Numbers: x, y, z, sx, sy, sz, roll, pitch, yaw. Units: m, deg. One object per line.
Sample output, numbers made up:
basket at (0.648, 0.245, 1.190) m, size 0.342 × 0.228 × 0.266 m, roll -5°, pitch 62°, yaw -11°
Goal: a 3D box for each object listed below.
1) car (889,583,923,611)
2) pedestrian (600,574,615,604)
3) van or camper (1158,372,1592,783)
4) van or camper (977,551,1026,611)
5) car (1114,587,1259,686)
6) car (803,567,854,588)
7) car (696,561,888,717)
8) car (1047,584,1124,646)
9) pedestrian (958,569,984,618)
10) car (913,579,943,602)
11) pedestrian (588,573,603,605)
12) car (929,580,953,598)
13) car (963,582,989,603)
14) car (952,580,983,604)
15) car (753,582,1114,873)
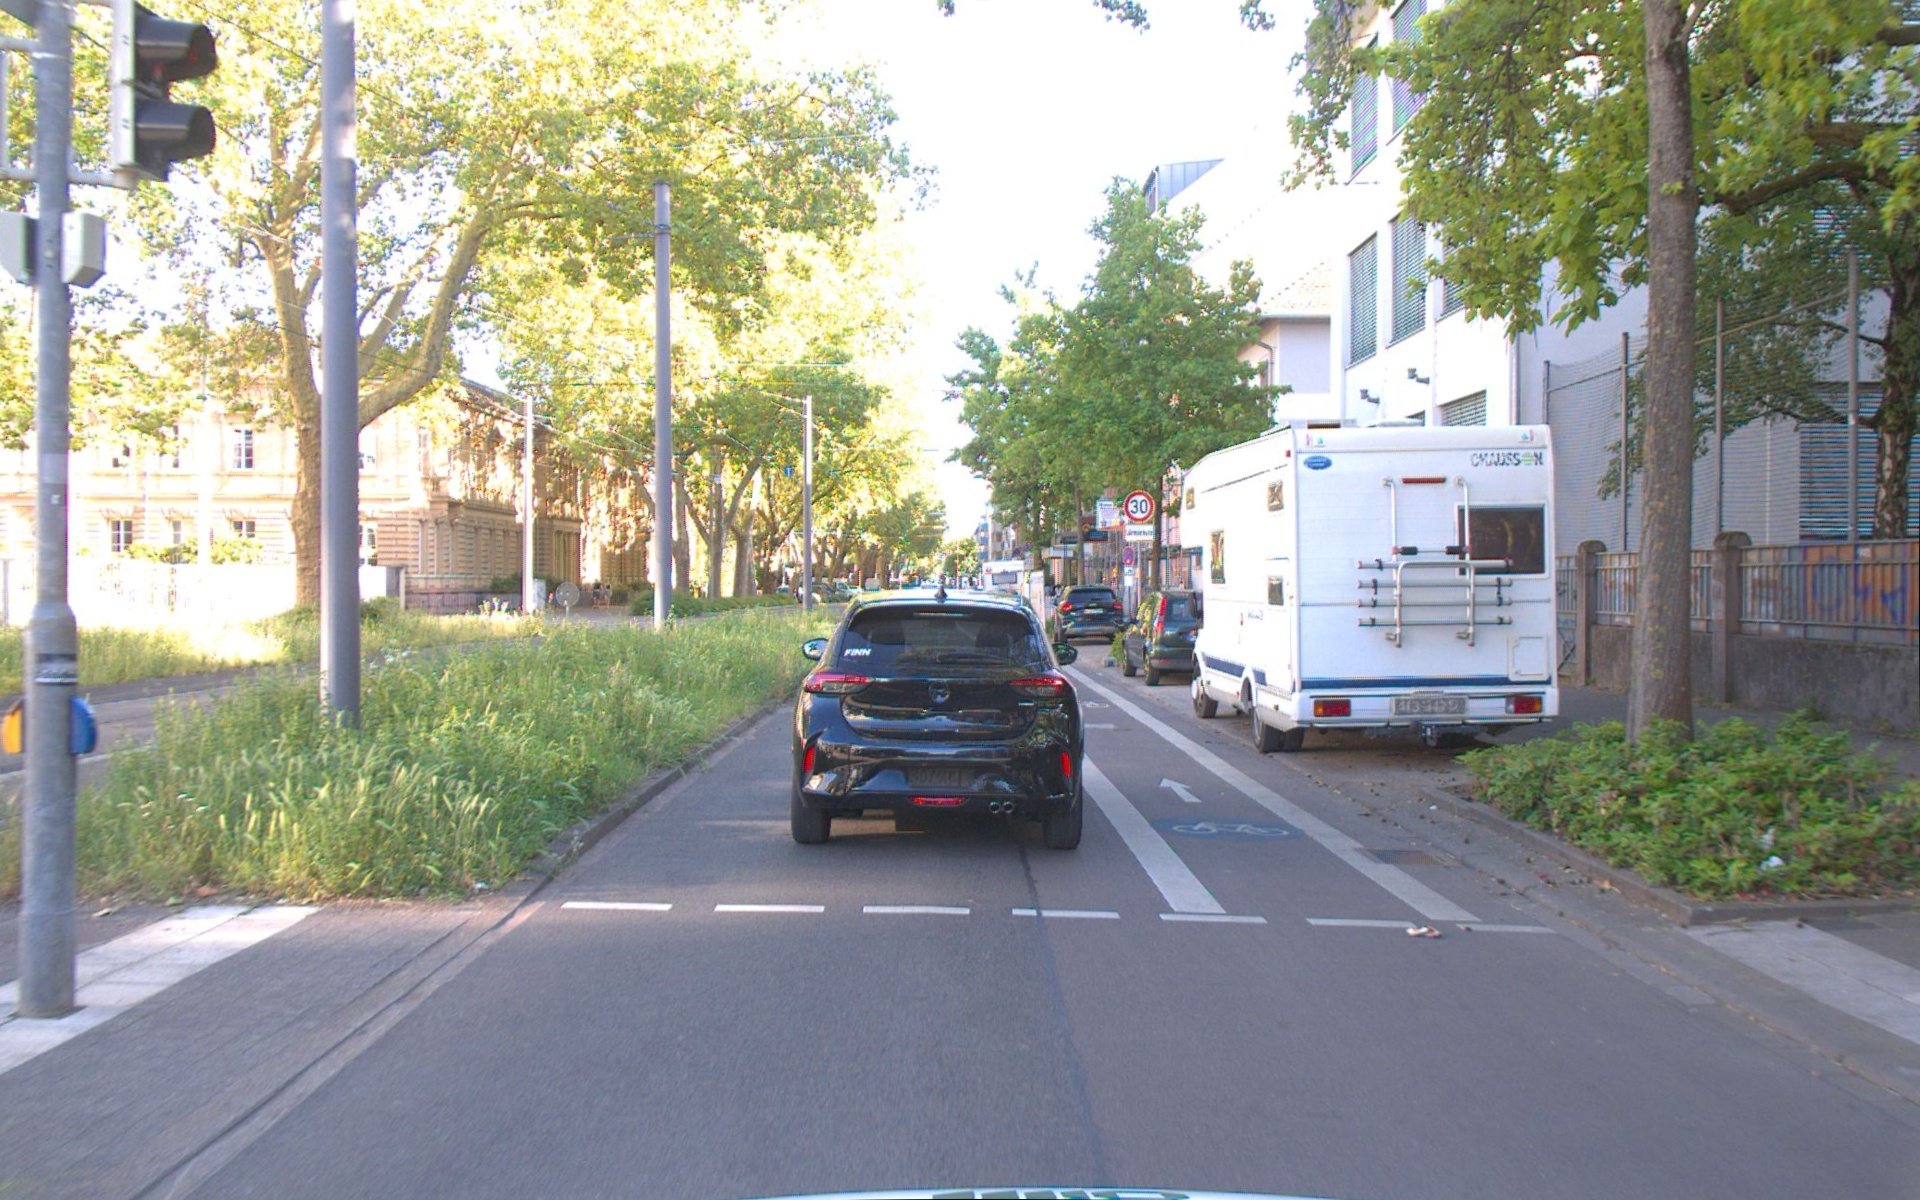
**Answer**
car at (-3.006, -0.176, 93.430) m, size 1.753 × 1.536 × 3.874 m, roll -1°, pitch 1°, yaw 0°
pedestrian at (-19.897, -0.639, 93.331) m, size 0.645 × 1.650 × 0.615 m, roll 3°, pitch 0°, yaw -1°
van or camper at (3.740, -0.239, 16.867) m, size 2.327 × 3.179 × 7.550 m, roll -2°, pitch 1°, yaw -1°
van or camper at (2.252, -1.017, 90.237) m, size 2.435 × 3.045 × 5.435 m, roll 3°, pitch 1°, yaw 1°
car at (3.603, 0.534, 26.933) m, size 1.652 × 1.445 × 4.047 m, roll 0°, pitch 1°, yaw -2°
car at (-14.753, -2.507, 186.017) m, size 5.571 × 2.236 × 2.289 m, roll 1°, pitch 1°, yaw 0°
car at (-1.984, 0.406, 20.864) m, size 1.953 × 1.655 × 4.470 m, roll 3°, pitch 1°, yaw -1°
car at (3.284, 0.363, 43.946) m, size 1.753 × 1.536 × 3.874 m, roll -1°, pitch 1°, yaw 0°
pedestrian at (0.464, -0.276, 70.872) m, size 1.015 × 2.059 × 1.212 m, roll 1°, pitch 1°, yaw -1°
car at (-2.102, -0.641, 109.908) m, size 1.866 × 1.450 × 4.216 m, roll 1°, pitch 1°, yaw 1°
pedestrian at (-20.531, -0.610, 93.128) m, size 0.605 × 1.763 × 0.596 m, roll 3°, pitch 0°, yaw -1°
car at (-1.584, -0.928, 140.778) m, size 1.866 × 1.450 × 4.216 m, roll 1°, pitch 1°, yaw 1°
car at (1.223, -0.560, 124.123) m, size 1.866 × 1.450 × 4.216 m, roll 1°, pitch 1°, yaw 1°
car at (0.487, -0.515, 104.771) m, size 1.866 × 1.450 × 4.216 m, roll 1°, pitch 1°, yaw 1°
car at (-0.108, 0.644, 10.748) m, size 1.866 × 1.450 × 4.216 m, roll 1°, pitch 1°, yaw 1°
